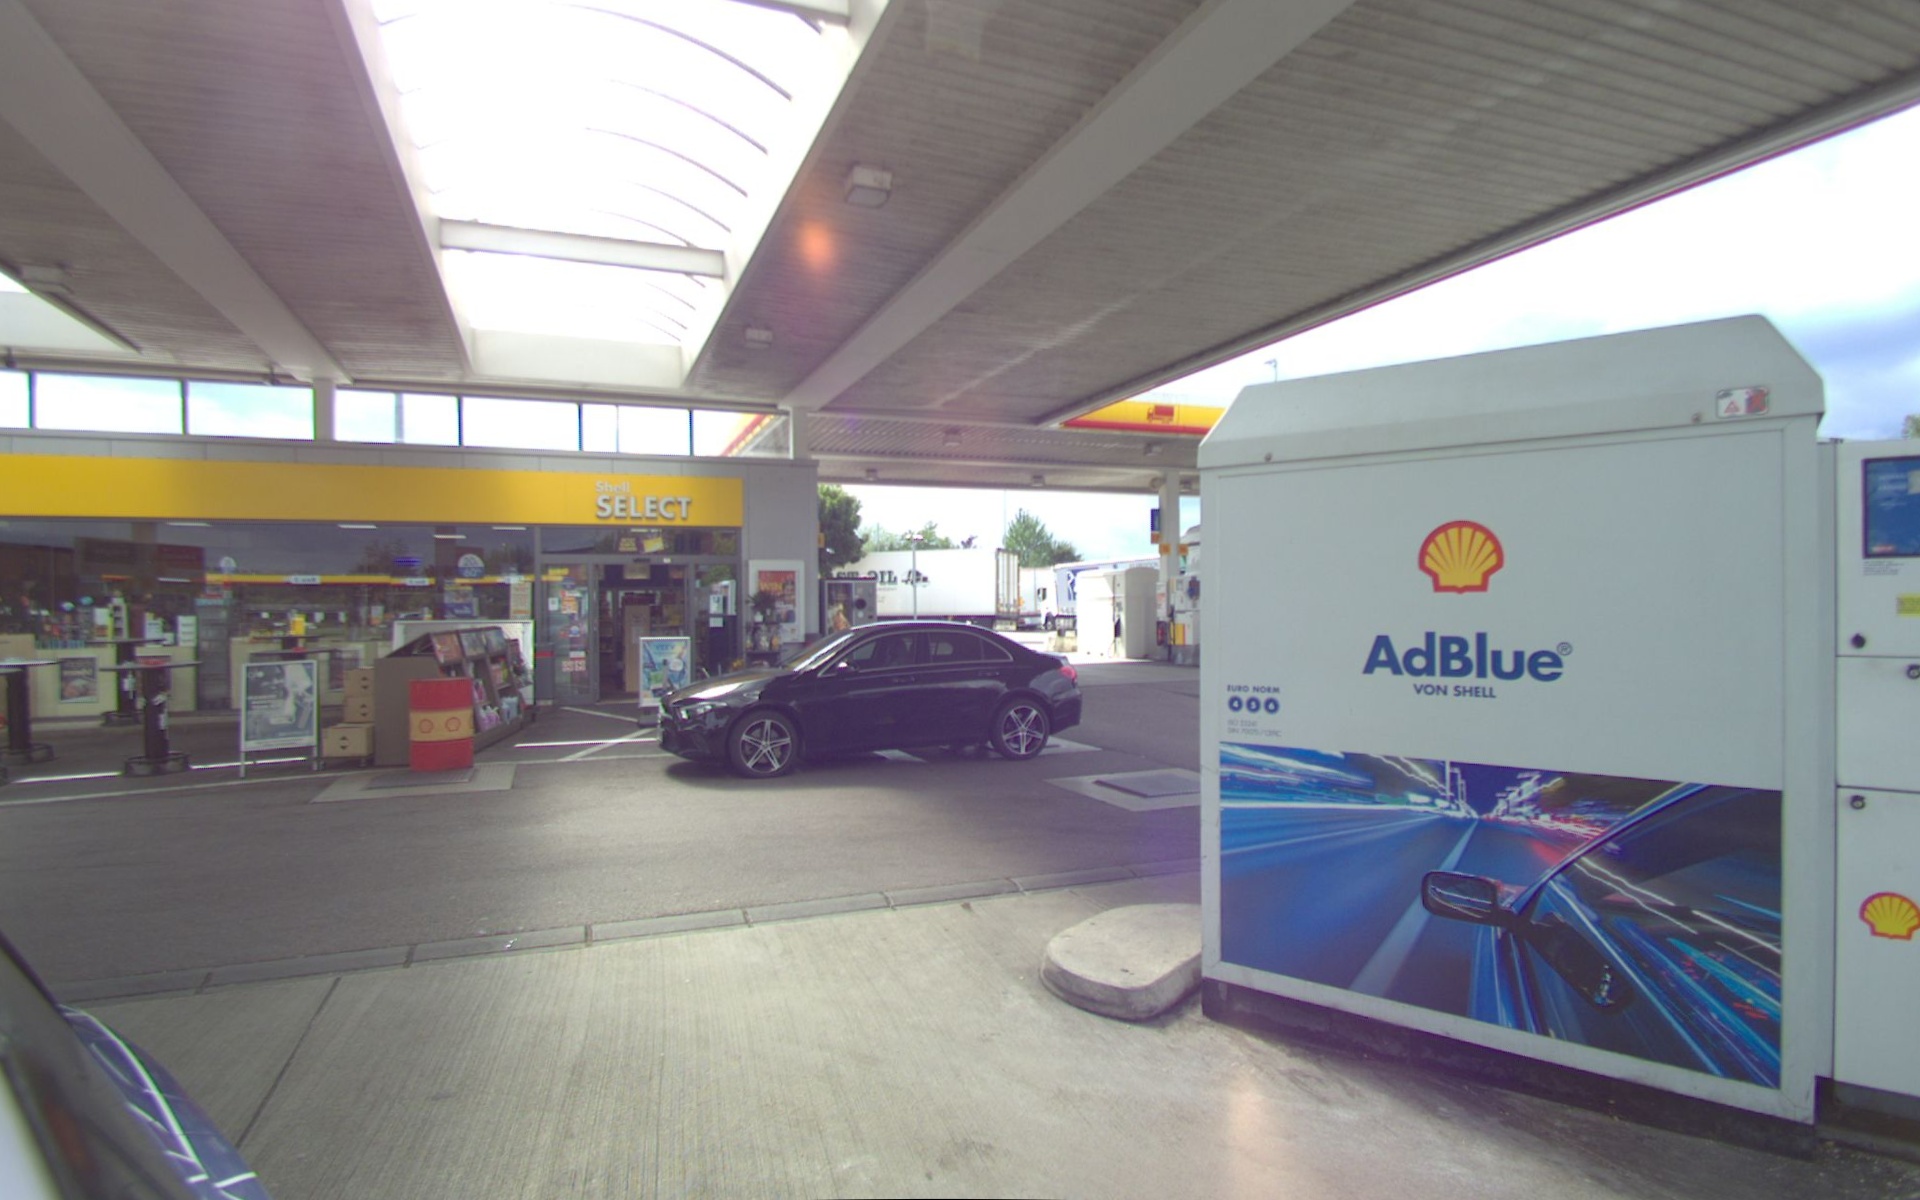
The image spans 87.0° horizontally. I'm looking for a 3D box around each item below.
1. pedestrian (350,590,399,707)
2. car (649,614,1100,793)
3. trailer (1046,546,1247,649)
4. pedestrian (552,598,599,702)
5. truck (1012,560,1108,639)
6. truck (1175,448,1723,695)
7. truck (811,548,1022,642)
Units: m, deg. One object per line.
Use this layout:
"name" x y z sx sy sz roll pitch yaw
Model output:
"pedestrian" -9.781 0.789 16.913 0.509 1.920 0.573 -1 0 41
"car" -0.907 0.946 10.670 4.394 1.511 1.785 -1 0 -21
"trailer" 9.110 -0.088 52.676 3.294 4.600 14.397 -1 0 -20
"pedestrian" -6.591 0.841 17.336 0.617 1.726 0.624 -1 0 -34
"truck" 5.932 -0.037 61.224 3.333 4.538 6.249 -1 0 -20
"truck" 9.660 -0.456 23.105 2.491 4.069 12.947 -1 0 -22
"truck" -2.098 -0.172 46.843 9.536 4.036 2.772 -1 0 25
